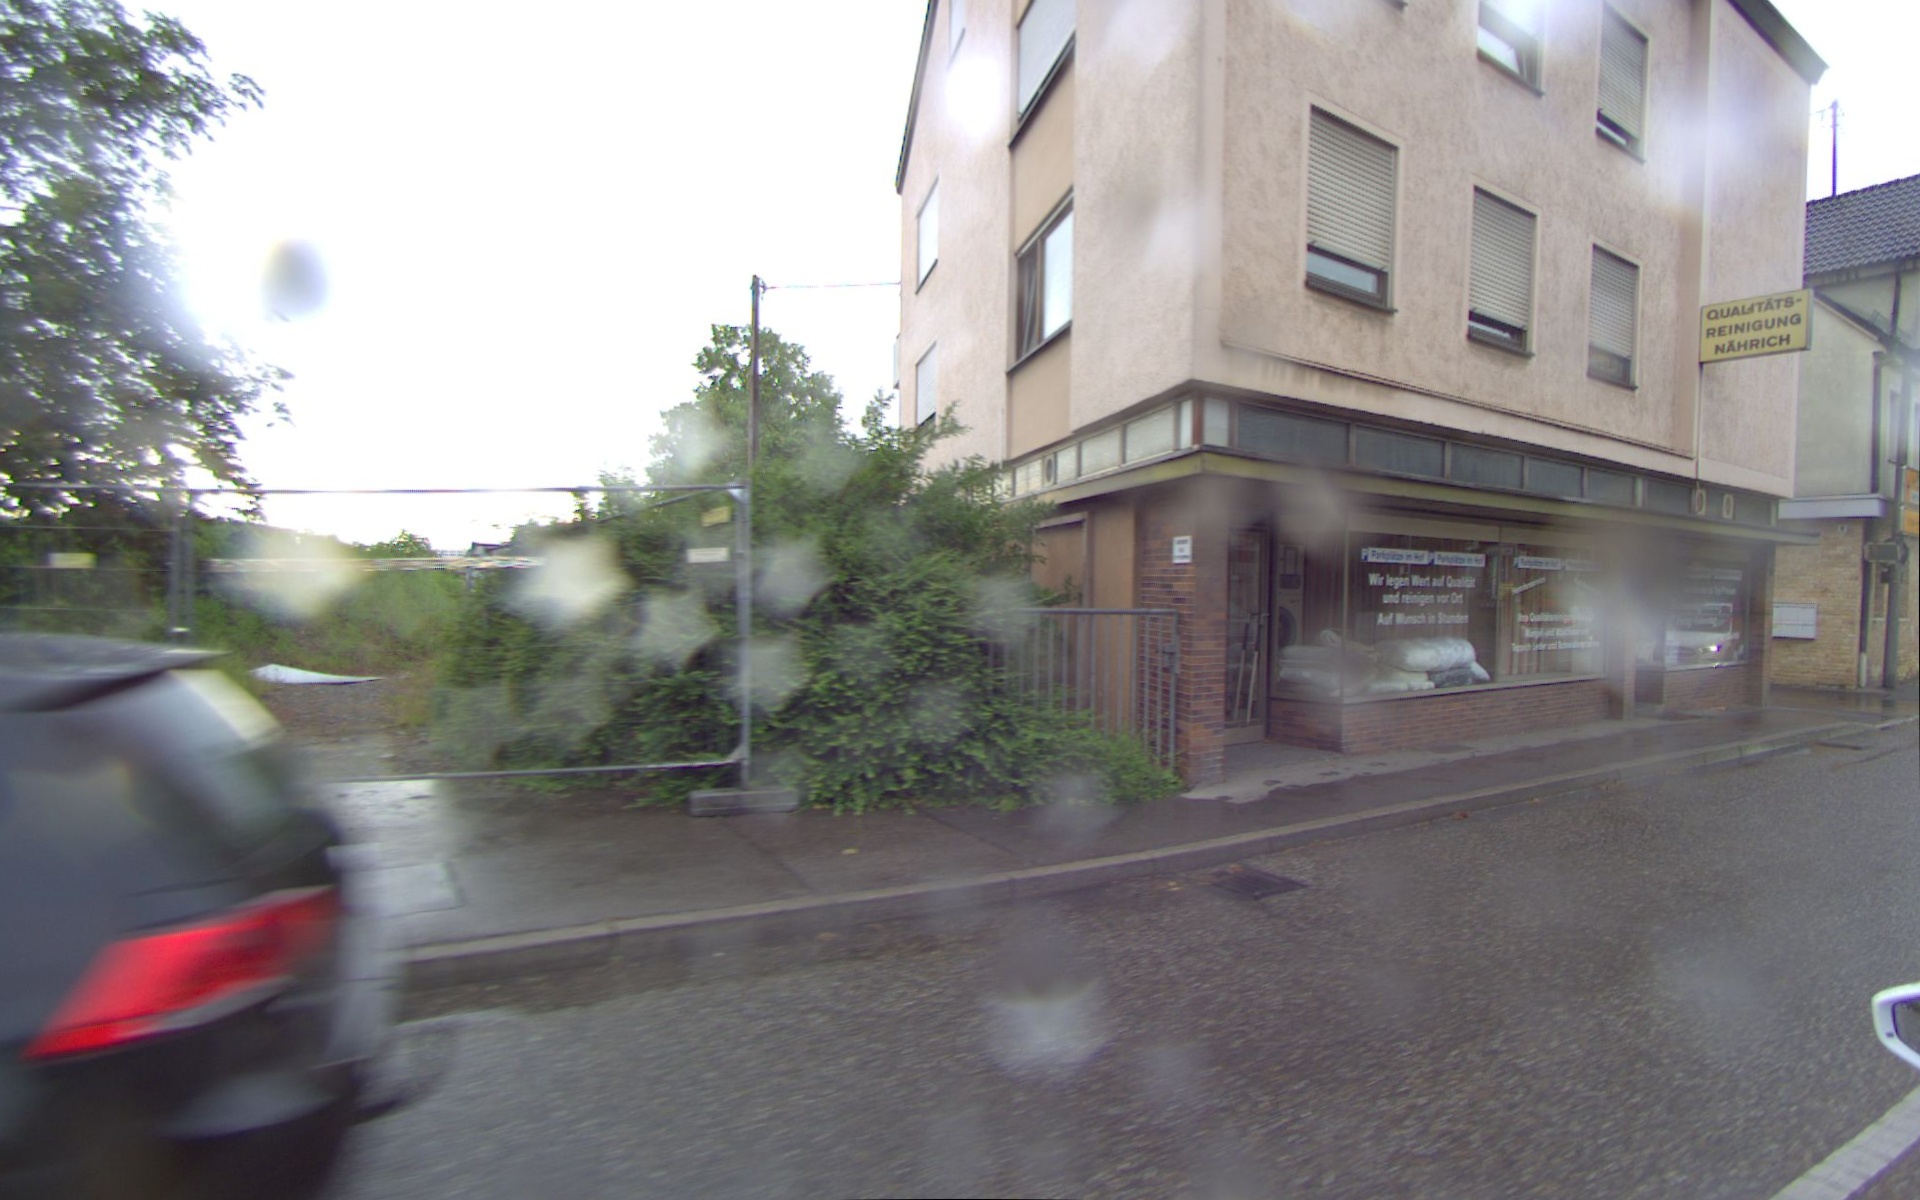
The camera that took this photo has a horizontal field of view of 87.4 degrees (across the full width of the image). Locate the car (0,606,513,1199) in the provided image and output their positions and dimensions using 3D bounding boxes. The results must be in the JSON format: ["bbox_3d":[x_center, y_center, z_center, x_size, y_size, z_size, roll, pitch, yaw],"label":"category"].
[{"bbox_3d":[-2.895,0.703,1.558,3.872,1.420,1.762,2,-1,-29],"label":"car"}]
